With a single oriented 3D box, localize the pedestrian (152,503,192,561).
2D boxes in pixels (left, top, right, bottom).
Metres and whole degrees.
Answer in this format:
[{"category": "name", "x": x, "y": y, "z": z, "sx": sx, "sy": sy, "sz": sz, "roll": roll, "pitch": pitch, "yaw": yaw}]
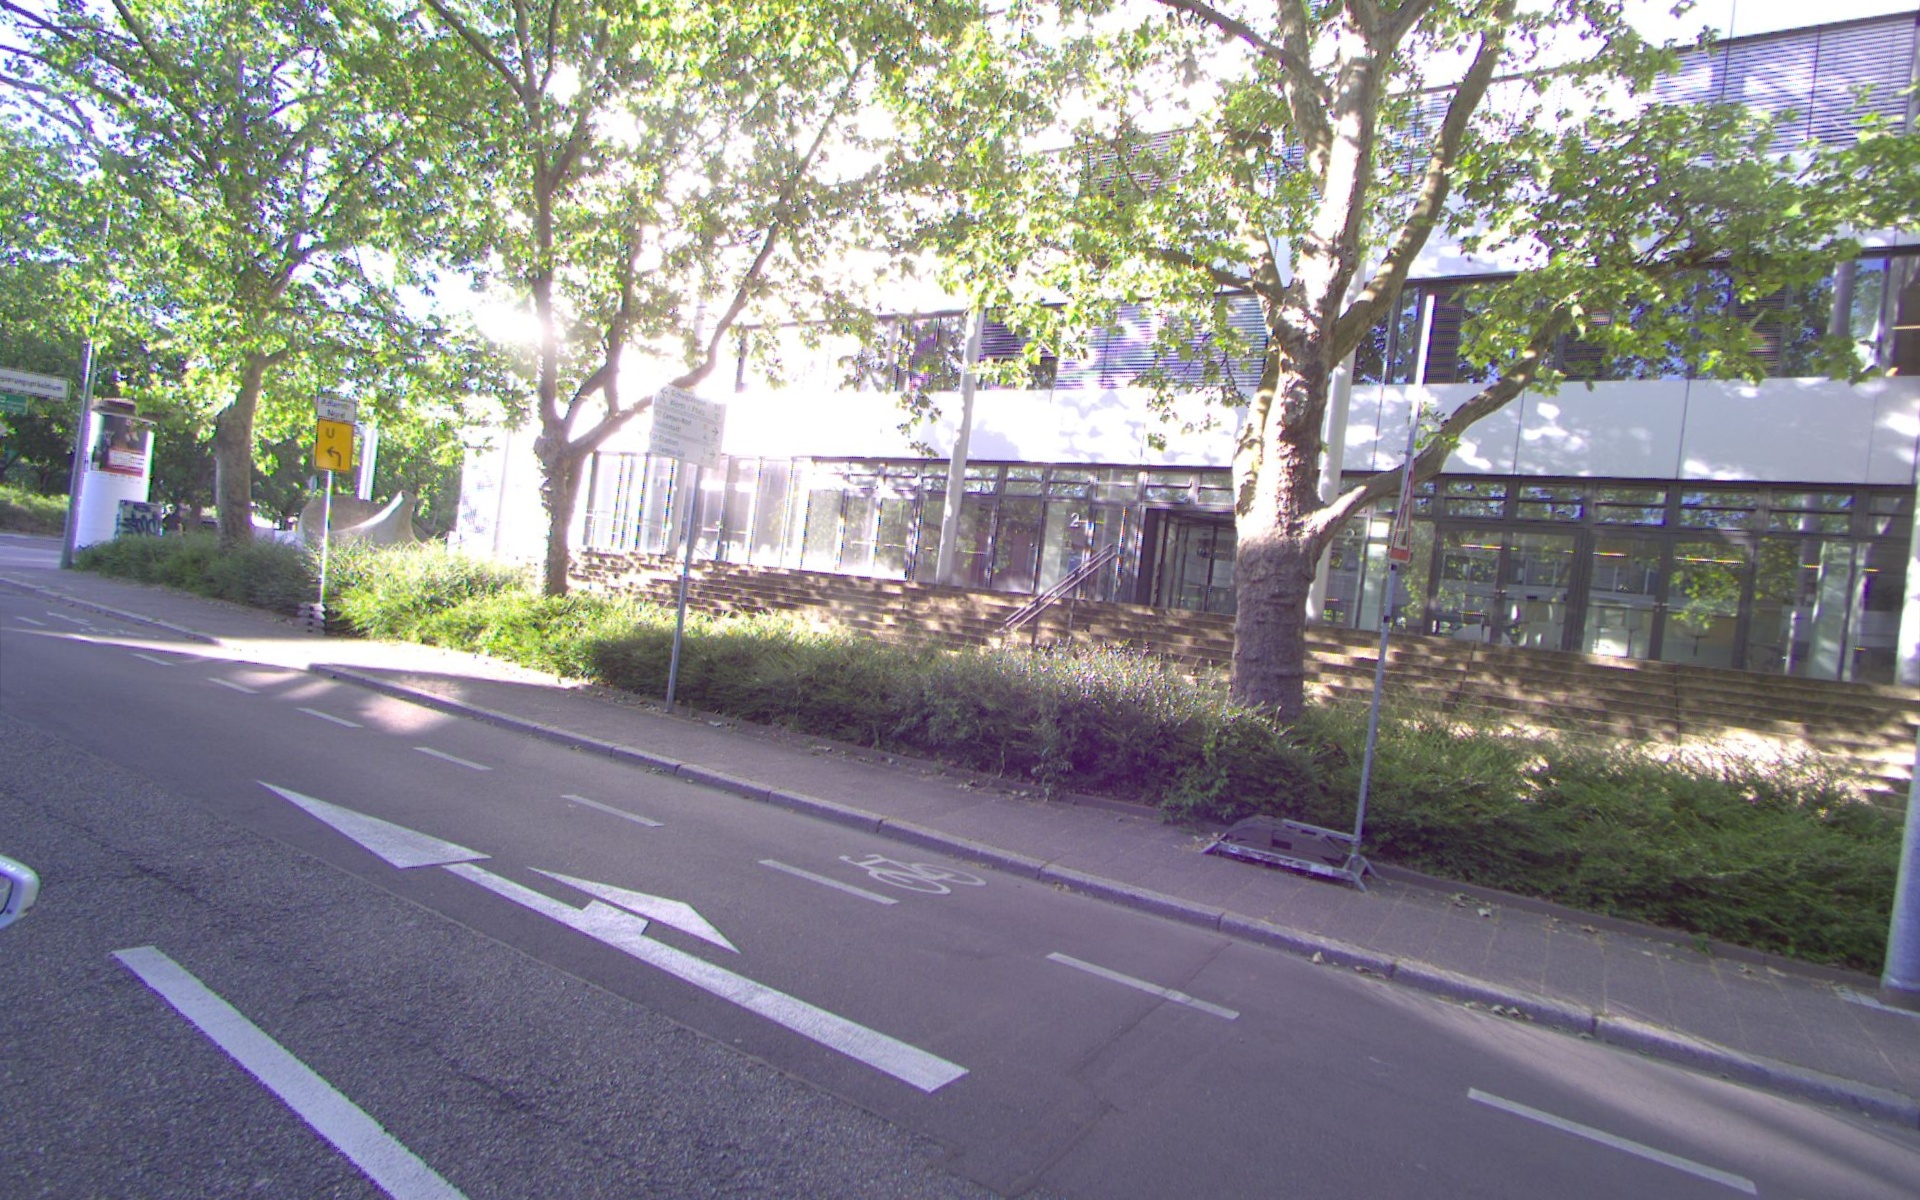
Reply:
[{"category": "pedestrian", "x": -26.020, "y": -2.245, "z": 33.203, "sx": 0.719, "sy": 1.799, "sz": 0.735, "roll": 6, "pitch": -1, "yaw": 41}]
